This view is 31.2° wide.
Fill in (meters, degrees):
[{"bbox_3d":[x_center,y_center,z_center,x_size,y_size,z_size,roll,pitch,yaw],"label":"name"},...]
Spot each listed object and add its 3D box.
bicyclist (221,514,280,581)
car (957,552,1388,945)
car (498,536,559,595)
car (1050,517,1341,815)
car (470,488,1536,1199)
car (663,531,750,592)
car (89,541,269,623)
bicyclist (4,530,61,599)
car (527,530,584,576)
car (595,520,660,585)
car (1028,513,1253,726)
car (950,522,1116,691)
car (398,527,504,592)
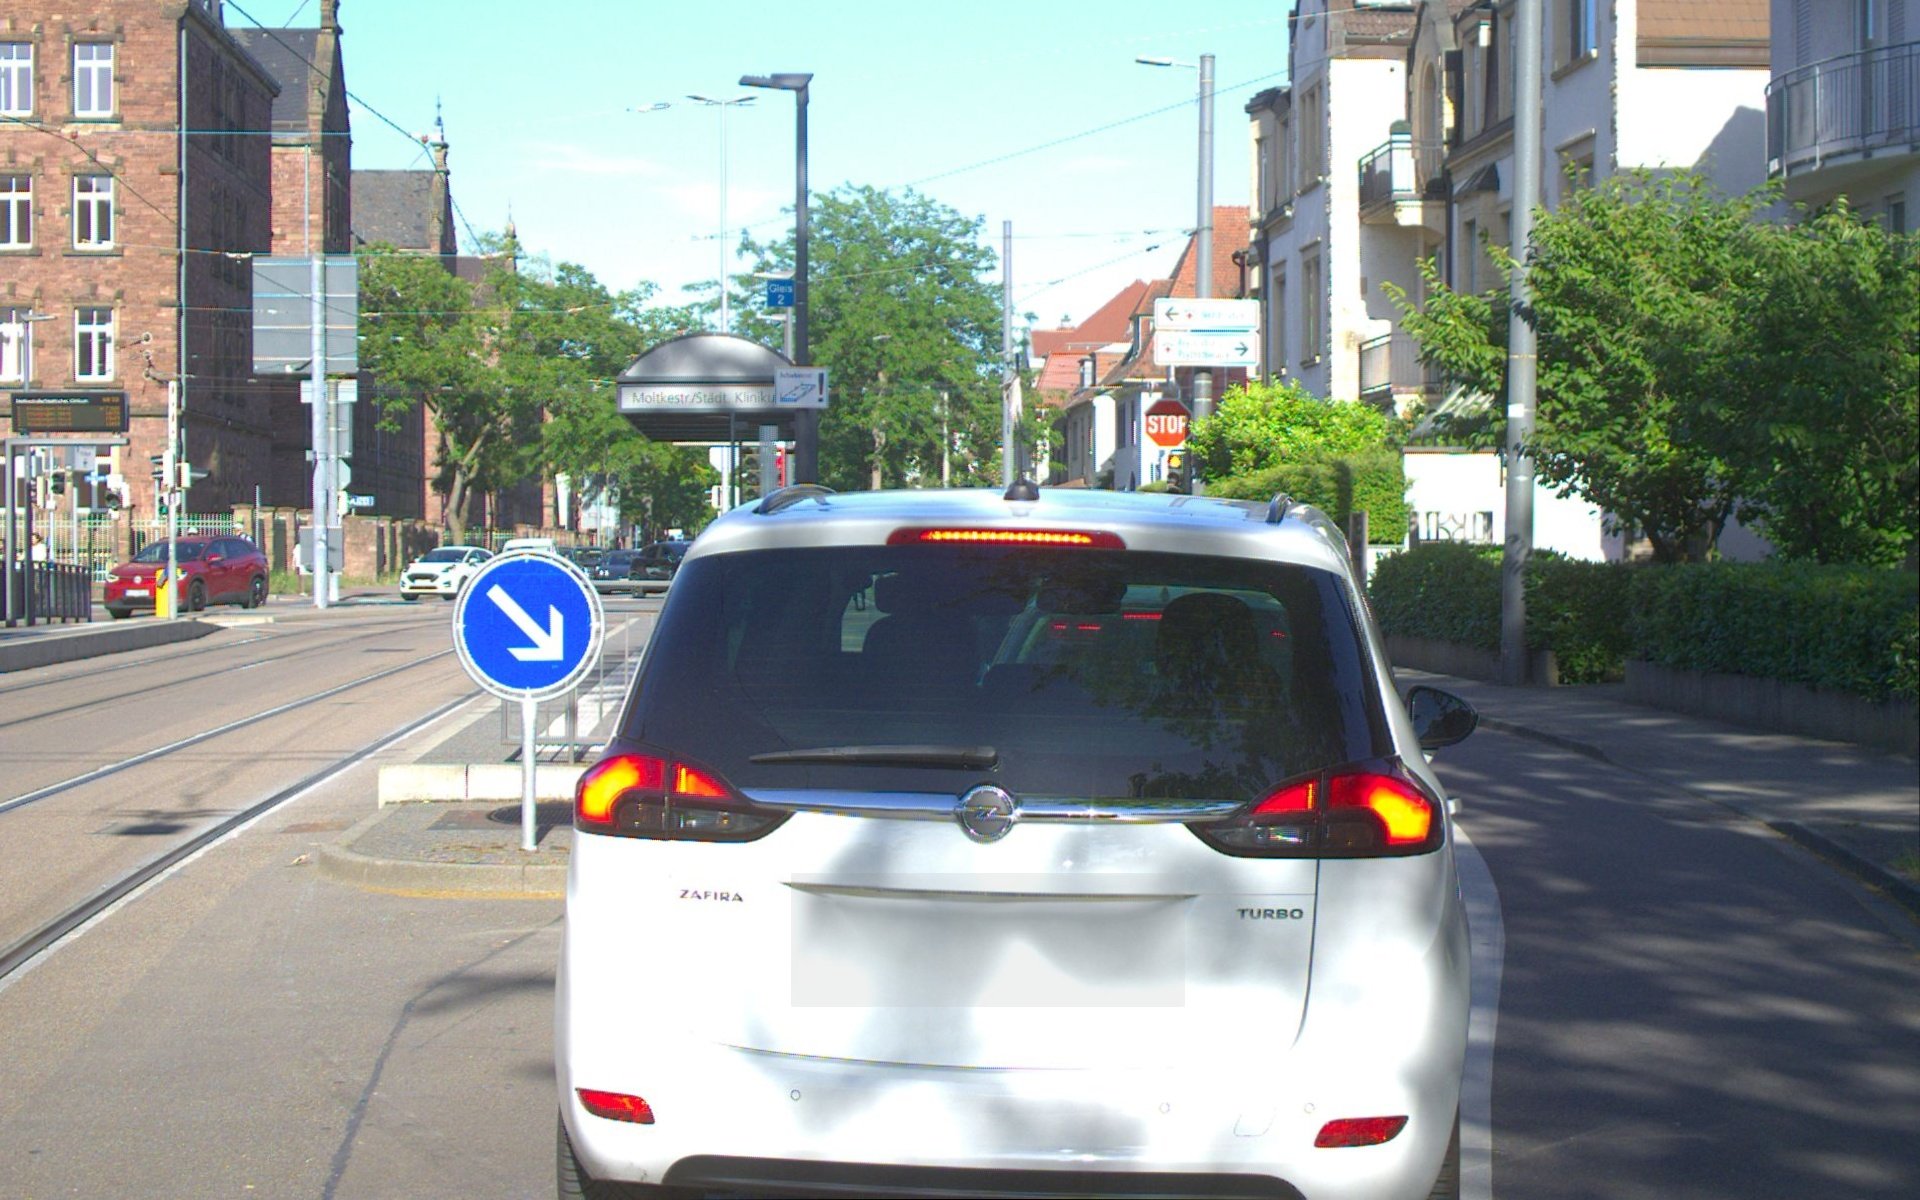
[{"bbox_3d":[-16.563,-1.224,80.289,0.761,1.531,1.347,1,1,20],"label":"bicyclist"},{"bbox_3d":[0.956,0.529,14.784,1.569,1.396,3.783,2,1,5],"label":"car"},{"bbox_3d":[-13.344,-1.081,106.288,1.826,1.782,4.256,0,1,-7],"label":"car"},{"bbox_3d":[1.473,0.331,21.034,1.569,1.609,3.783,2,1,5],"label":"car"},{"bbox_3d":[0.233,0.566,8.092,1.878,1.579,3.999,1,1,5],"label":"car"},{"bbox_3d":[-6.732,-1.037,91.567,1.993,1.590,4.000,0,1,0],"label":"car"},{"bbox_3d":[-15.866,-0.398,70.056,1.819,1.601,4.357,0,1,14],"label":"car"},{"bbox_3d":[-19.630,-0.753,72.775,0.756,1.465,1.190,0,1,8],"label":"bicyclist"},{"bbox_3d":[-14.521,-1.673,123.696,1.826,1.611,4.328,0,0,-4],"label":"car"},{"bbox_3d":[-10.436,-1.497,107.680,1.993,2.007,4.001,0,1,-6],"label":"car"},{"bbox_3d":[1.470,0.119,29.169,1.596,1.629,3.901,2,1,-1],"label":"car"},{"bbox_3d":[0.732,0.022,36.763,1.596,1.629,3.902,2,2,-1],"label":"car"},{"bbox_3d":[-14.393,-1.172,97.475,1.699,1.803,3.998,0,1,12],"label":"car"}]
